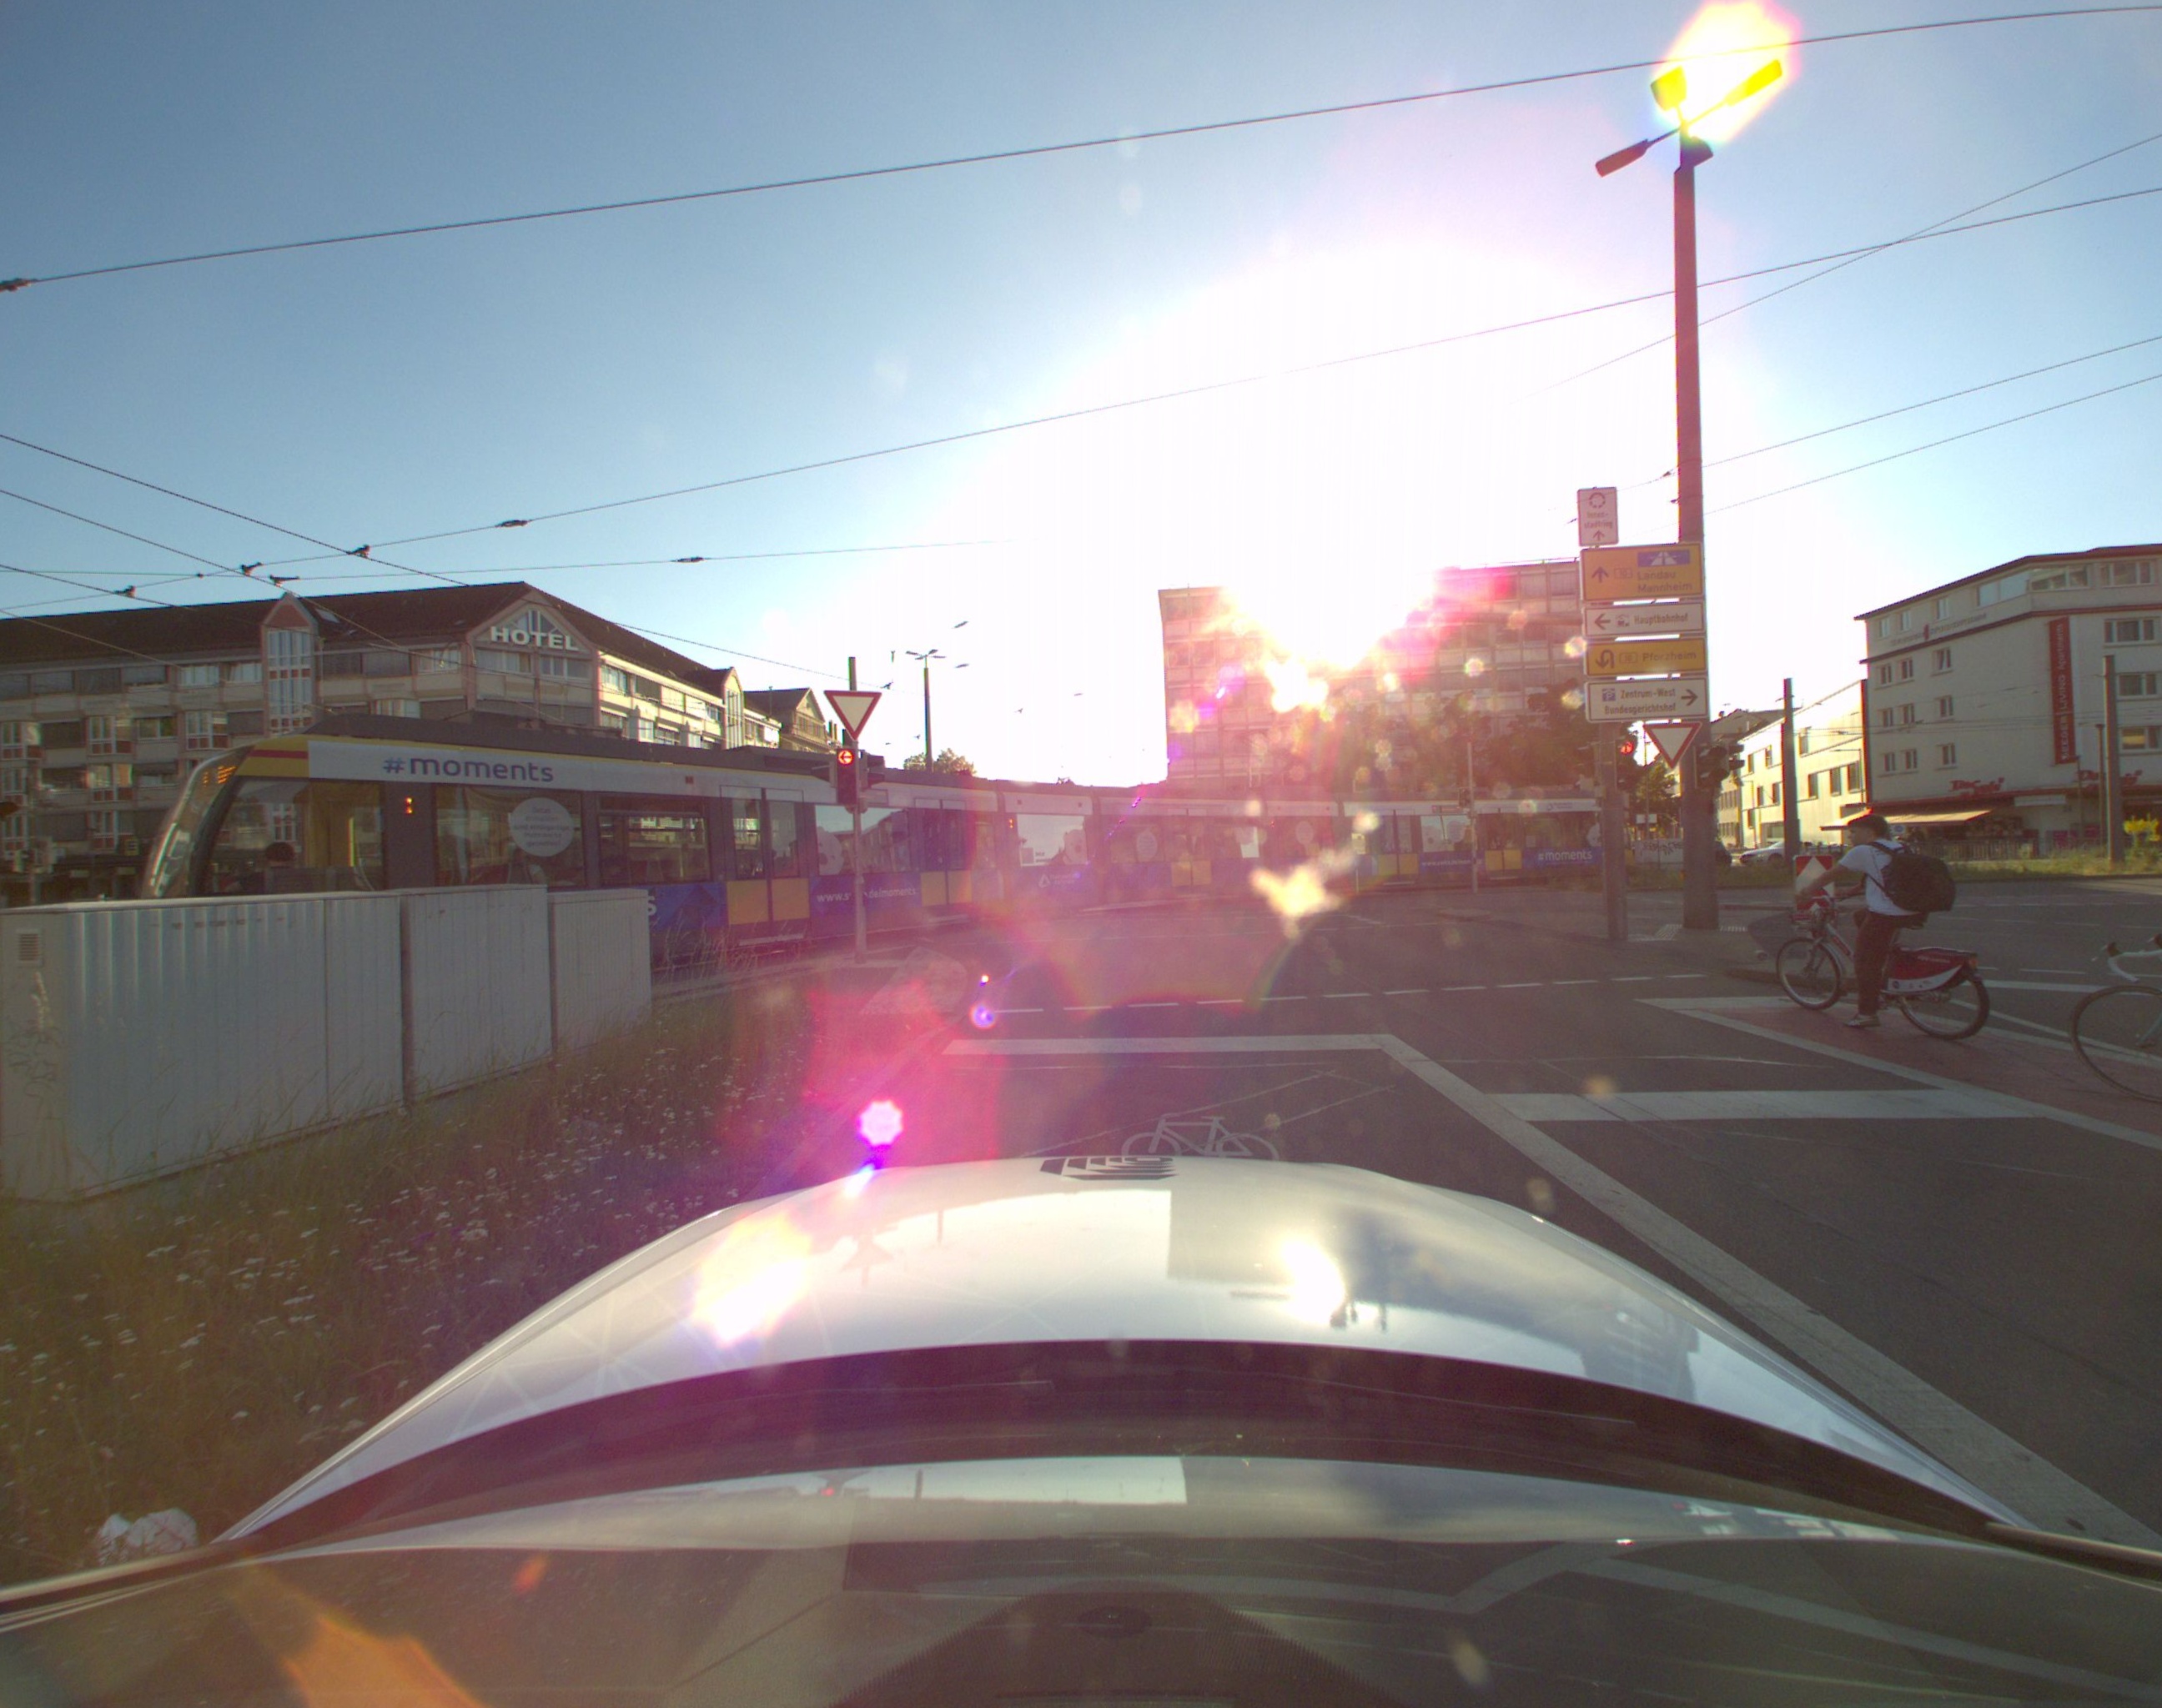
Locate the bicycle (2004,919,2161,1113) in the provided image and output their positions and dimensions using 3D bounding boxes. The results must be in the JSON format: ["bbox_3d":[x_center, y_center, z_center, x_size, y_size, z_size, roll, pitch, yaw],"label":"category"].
[{"bbox_3d":[6.181,0.911,4.347,0.540,1.001,1.692,0,-1,-3],"label":"bicycle"}]

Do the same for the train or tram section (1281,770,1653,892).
[{"bbox_3d":[13.886,-0.730,29.294,12.965,3.833,3.695,0,-1,-17],"label":"train or tram section"}]

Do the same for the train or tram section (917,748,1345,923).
[{"bbox_3d":[2.108,-0.516,23.309,13.043,3.833,3.673,-1,0,-38],"label":"train or tram section"}]

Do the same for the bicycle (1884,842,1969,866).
[{"bbox_3d":[39.524,0.017,38.133,0.994,1.111,2.633,0,-1,-13],"label":"bicycle"}]

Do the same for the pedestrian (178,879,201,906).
[{"bbox_3d":[-56.692,2.458,51.810,0.602,1.635,0.608,-7,0,-10],"label":"pedestrian"}]

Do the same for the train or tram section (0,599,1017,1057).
[{"bbox_3d":[-6.554,-0.221,13.496,3.667,3.833,13.445,-2,-1,31],"label":"train or tram section"}]

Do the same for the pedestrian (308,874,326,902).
[{"bbox_3d":[-47.328,2.097,50.447,0.625,1.694,0.859,0,-1,-30],"label":"pedestrian"}]

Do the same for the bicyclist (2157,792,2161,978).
[{"bbox_3d":[6.159,0.536,4.023,0.612,1.746,0.791,0,-1,-3],"label":"bicyclist"}]

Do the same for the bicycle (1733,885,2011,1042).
[{"bbox_3d":[6.563,0.841,6.916,0.540,1.101,1.807,0,-1,-3],"label":"bicycle"}]

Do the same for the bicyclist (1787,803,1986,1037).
[{"bbox_3d":[6.583,0.501,6.720,0.540,1.768,1.059,0,-1,-3],"label":"bicyclist"}]

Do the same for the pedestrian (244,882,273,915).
[{"bbox_3d":[-42.171,2.277,41.761,0.680,1.660,0.780,0,-1,-4],"label":"pedestrian"}]

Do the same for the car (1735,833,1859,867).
[{"bbox_3d":[36.020,-0.203,41.067,4.421,1.651,2.001,0,-1,2],"label":"car"}]

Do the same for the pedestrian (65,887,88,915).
[{"bbox_3d":[-64.686,3.023,52.432,0.671,1.778,0.825,-1,-1,32],"label":"pedestrian"}]

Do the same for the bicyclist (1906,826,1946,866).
[{"bbox_3d":[39.545,-0.349,38.115,0.994,1.843,0.872,0,-1,-13],"label":"bicyclist"}]

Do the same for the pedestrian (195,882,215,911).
[{"bbox_3d":[-56.210,2.740,52.259,0.598,1.852,0.613,-1,-1,12],"label":"pedestrian"}]

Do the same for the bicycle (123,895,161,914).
[{"bbox_3d":[-60.195,3.238,52.204,0.481,1.119,1.650,0,-1,2],"label":"bicycle"}]
